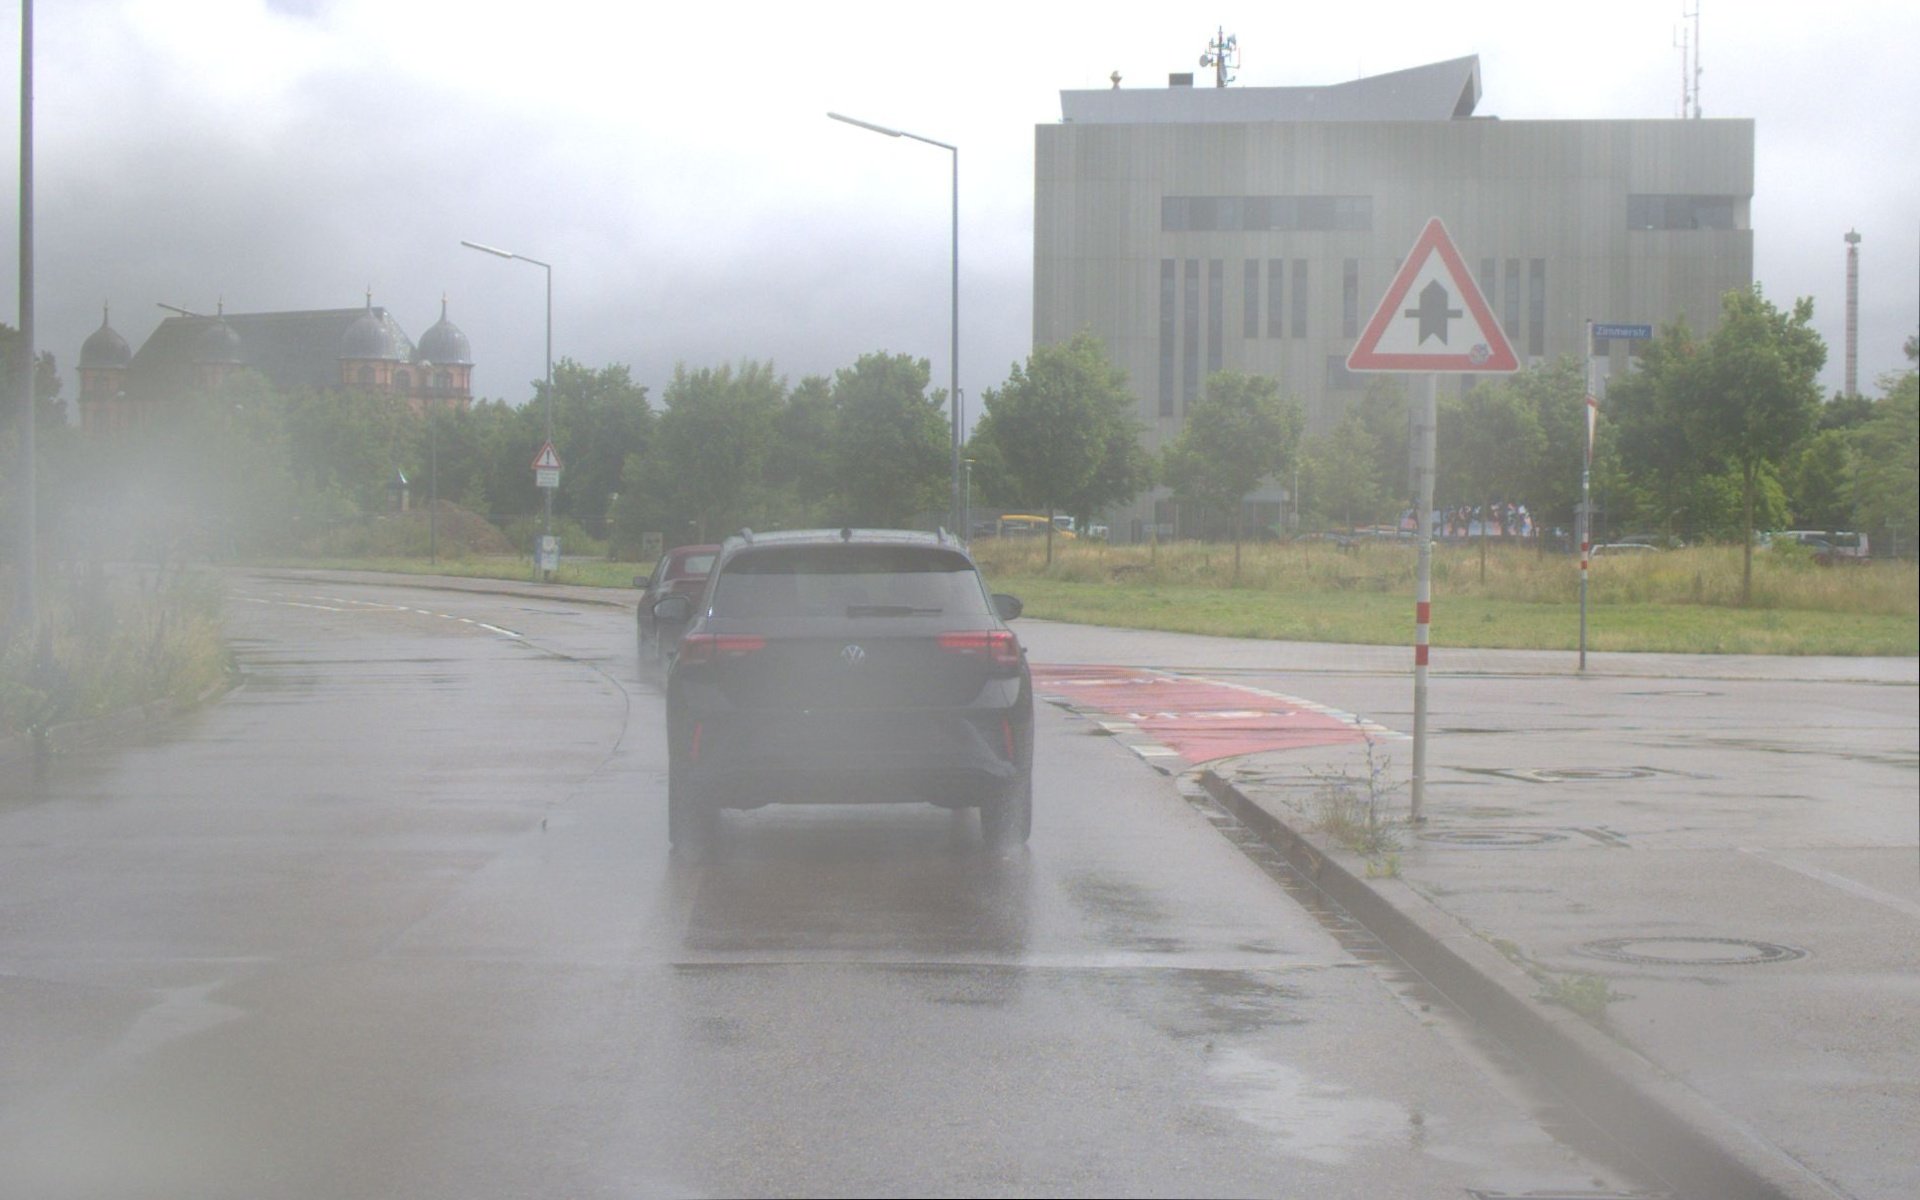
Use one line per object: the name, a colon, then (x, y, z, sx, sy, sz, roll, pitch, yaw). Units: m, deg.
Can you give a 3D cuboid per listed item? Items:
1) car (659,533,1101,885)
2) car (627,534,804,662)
car: (-0.521, 0.461, 17.818, 1.986, 1.515, 4.001, -2, 2, -4)
car: (-3.078, -0.062, 42.614, 1.841, 1.437, 4.001, -2, 2, -9)
